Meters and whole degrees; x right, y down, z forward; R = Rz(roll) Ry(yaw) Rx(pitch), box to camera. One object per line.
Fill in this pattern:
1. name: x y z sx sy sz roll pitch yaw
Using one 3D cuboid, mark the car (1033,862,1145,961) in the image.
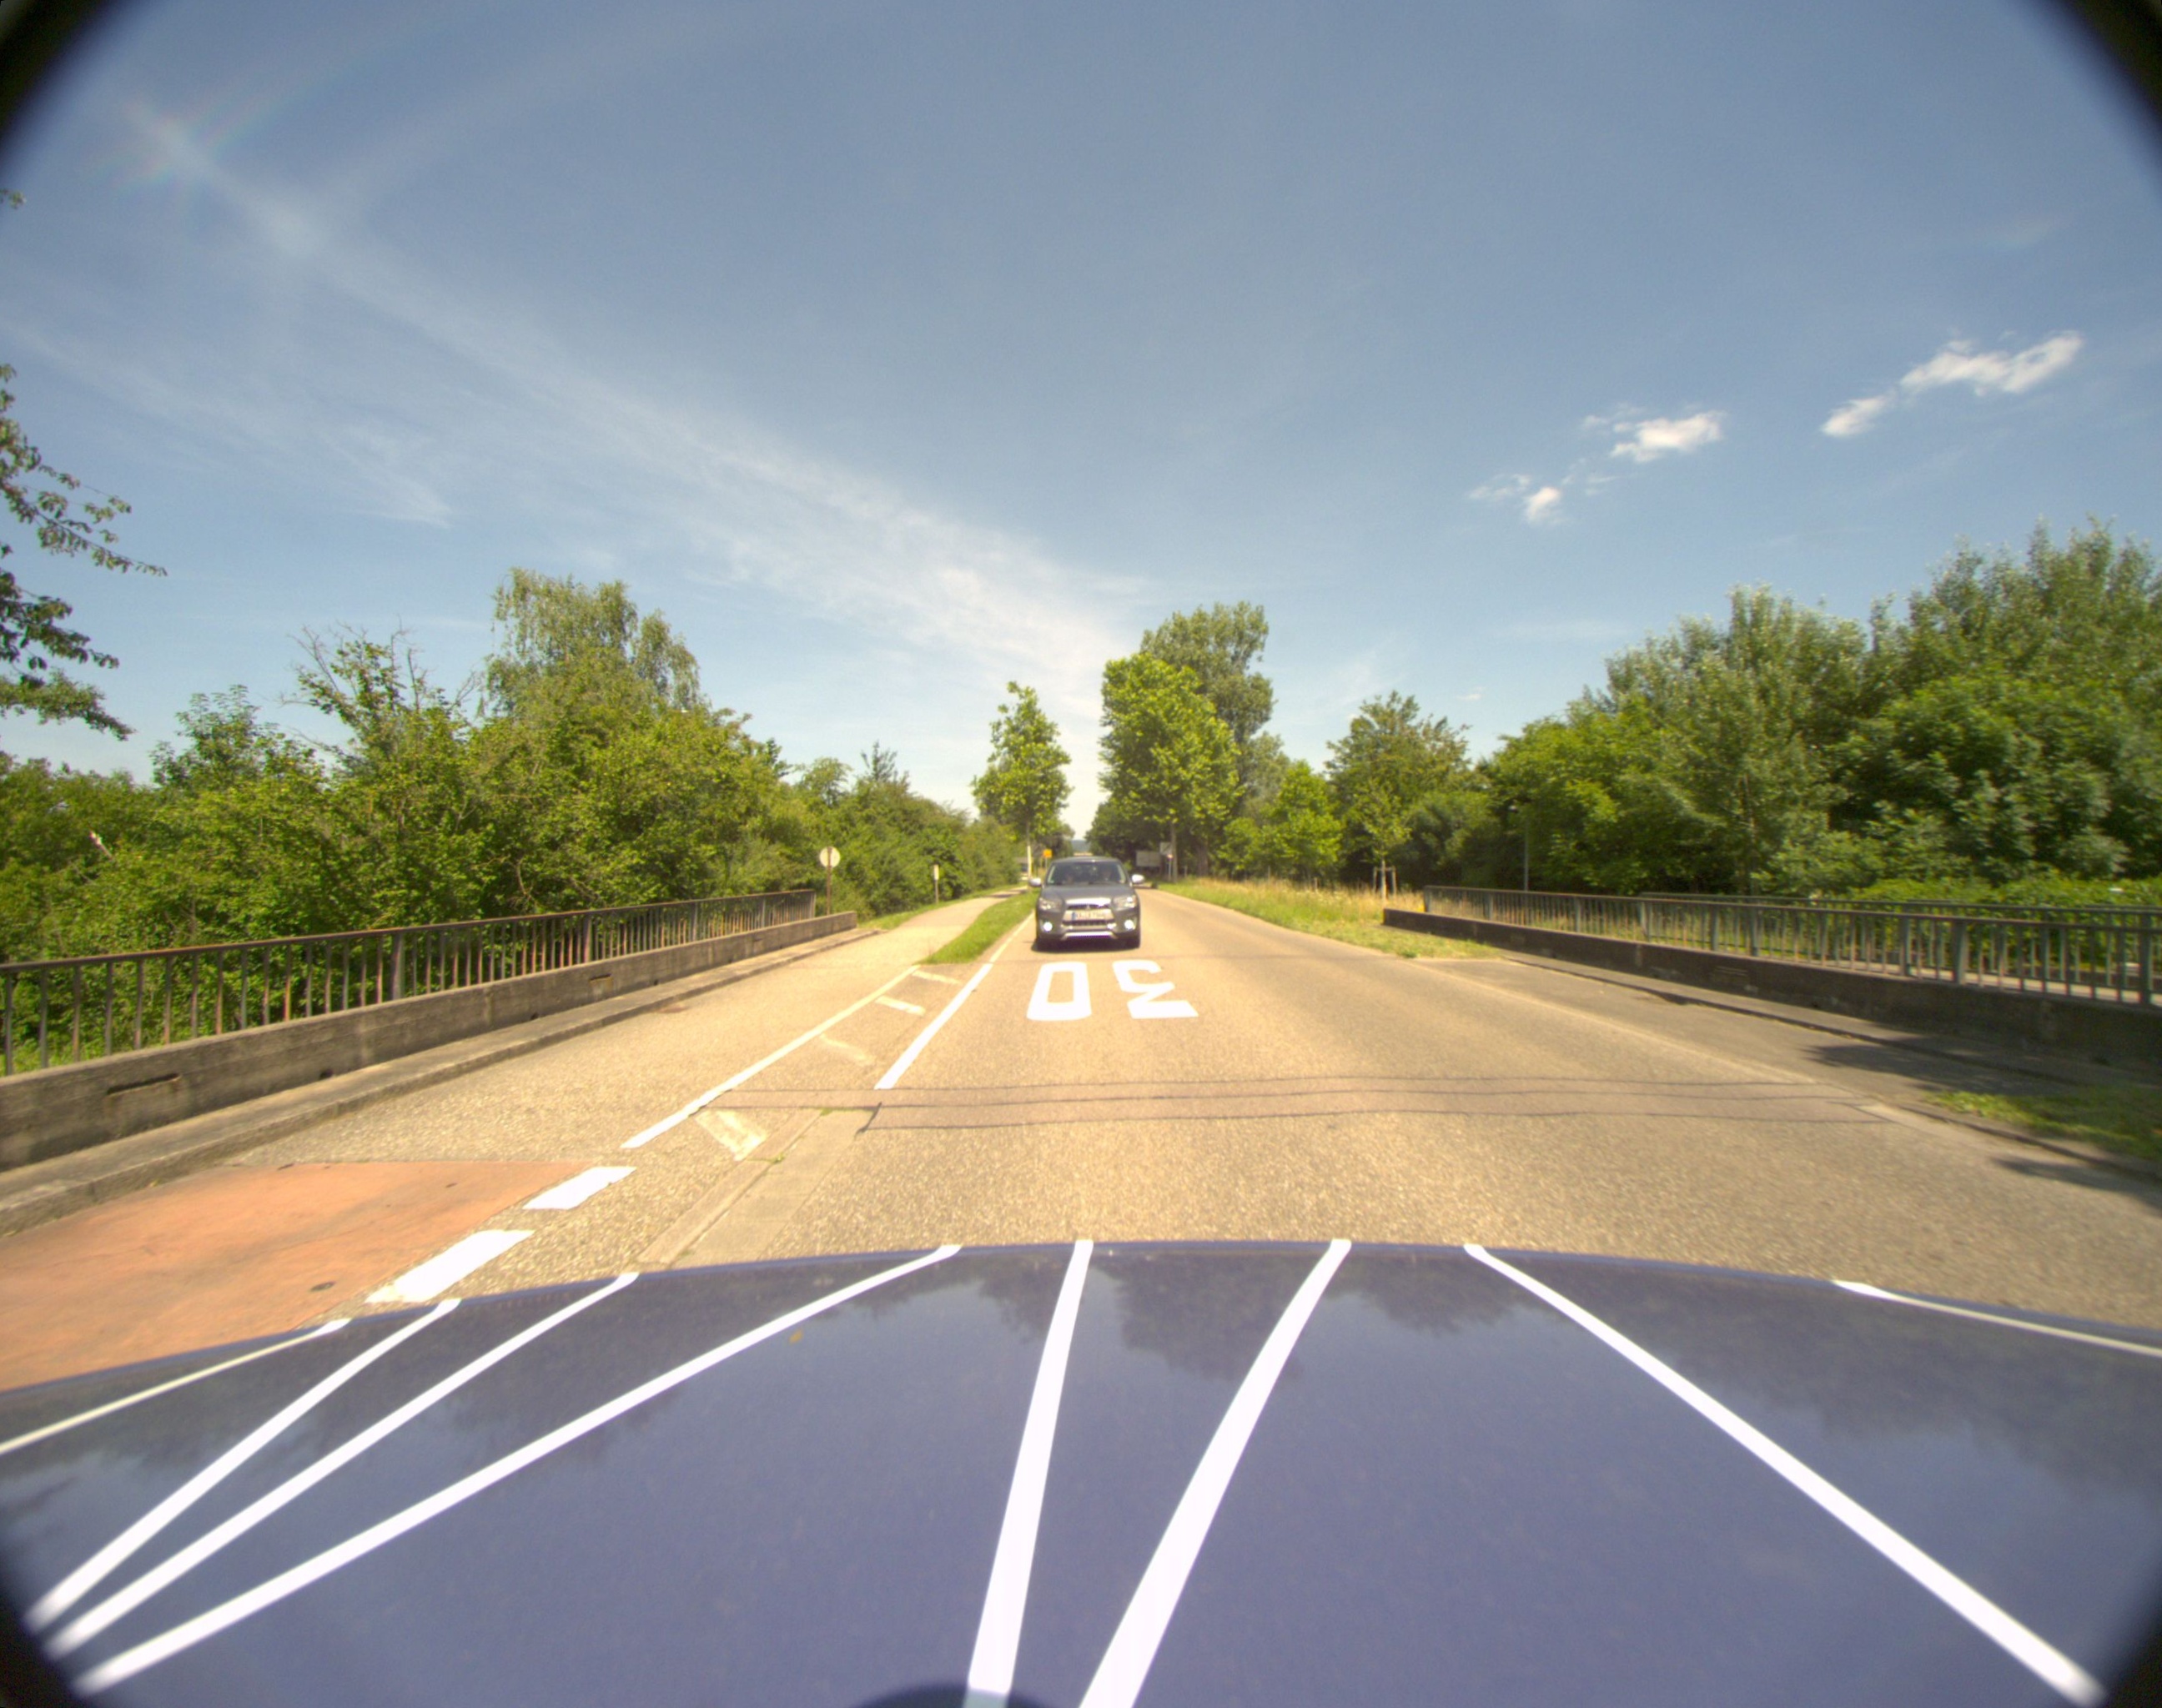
1. car: 0.117 0.936 14.291 1.750 1.525 4.524 -1 0 0
